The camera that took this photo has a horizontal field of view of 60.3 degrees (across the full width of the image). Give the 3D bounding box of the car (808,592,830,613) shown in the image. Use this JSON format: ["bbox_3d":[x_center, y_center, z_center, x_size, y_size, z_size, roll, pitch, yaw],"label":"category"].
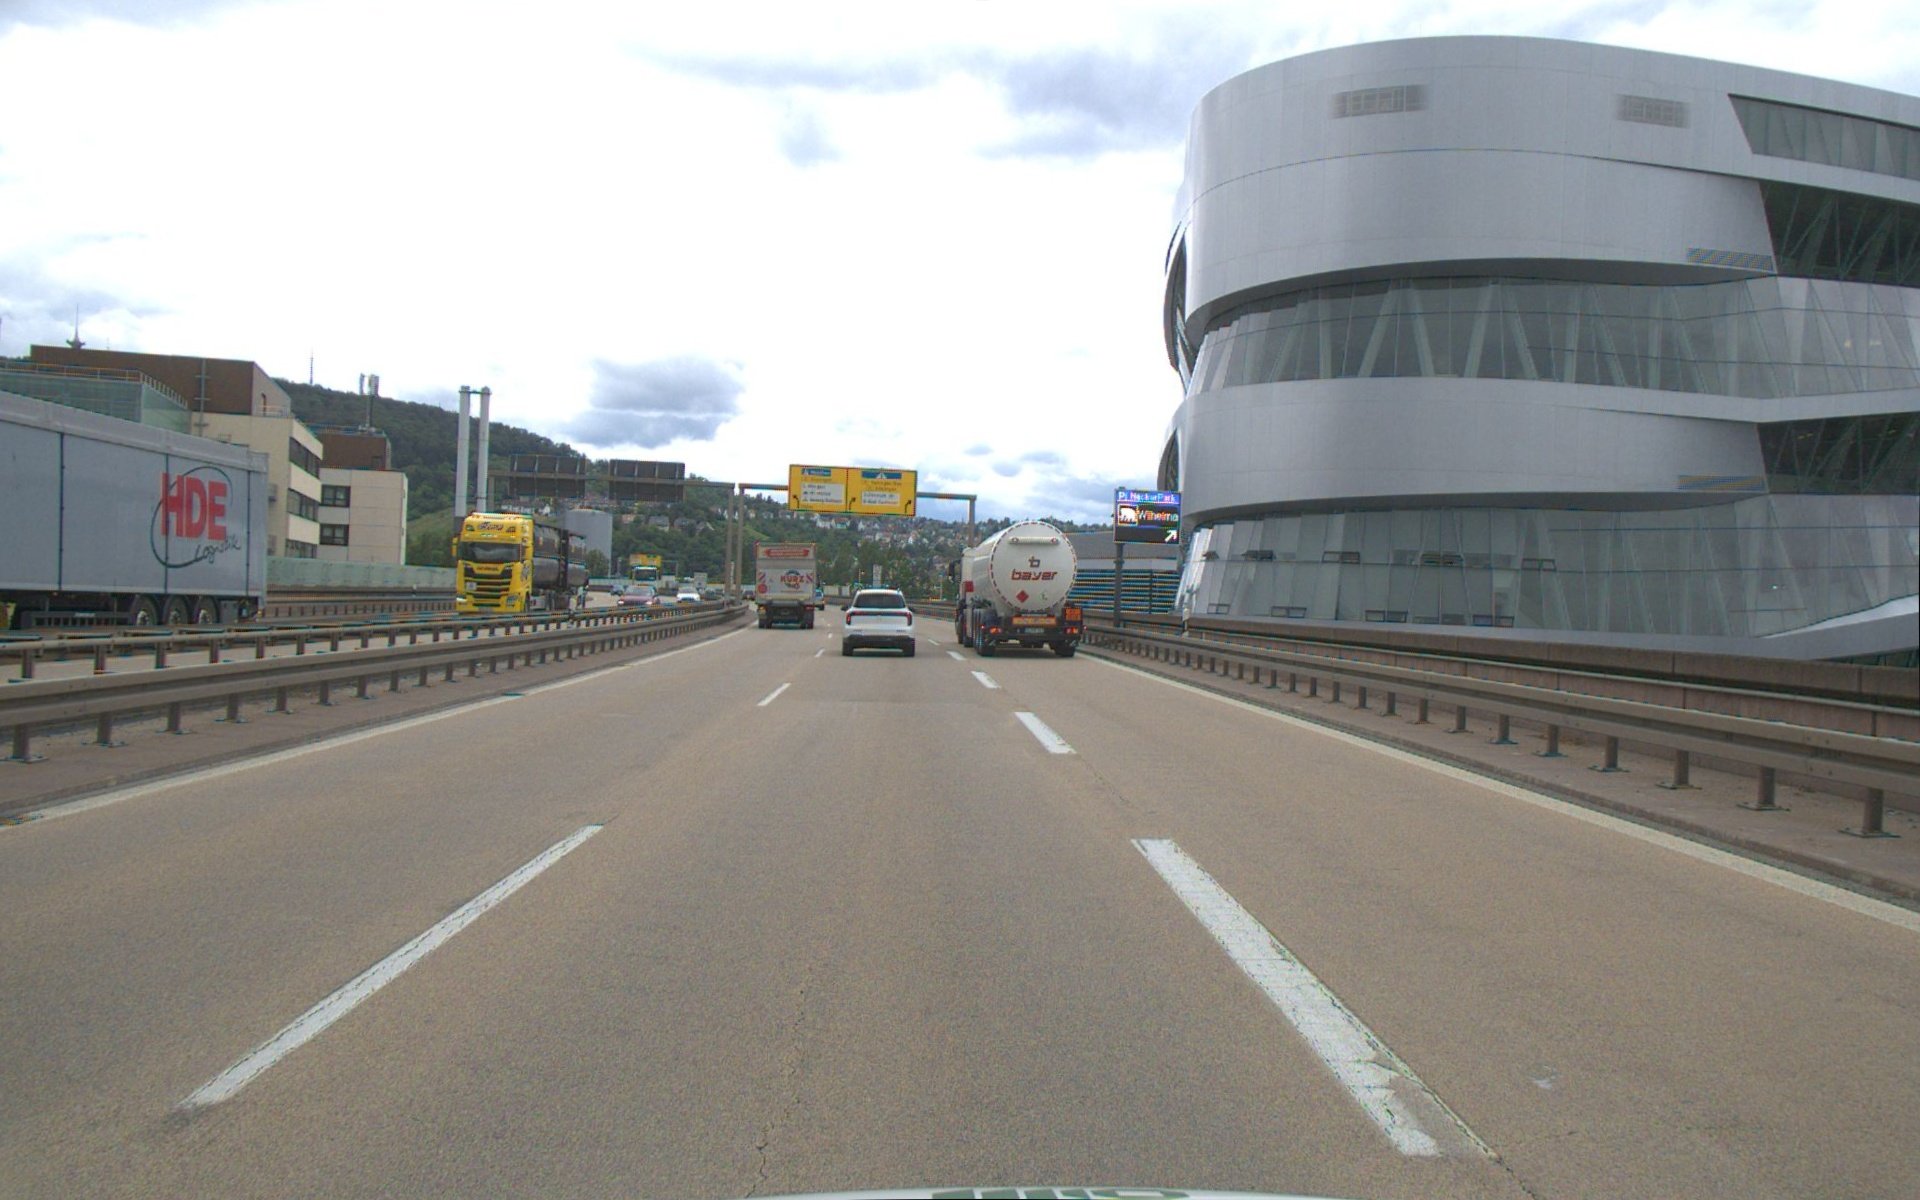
[{"bbox_3d":[-12.104,0.238,141.672,1.649,1.679,4.357,2,-1,-3],"label":"car"}]

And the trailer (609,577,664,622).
[{"bbox_3d":[-15.265,0.005,78.142,1.954,2.049,3.997,1,-1,-3],"label":"trailer"}]

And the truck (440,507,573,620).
[{"bbox_3d":[-18.276,-1.287,67.550,2.997,4.136,11.845,1,-1,-4],"label":"truck"}]

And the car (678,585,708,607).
[{"bbox_3d":[-20.877,-0.317,129.418,1.955,1.634,4.801,1,-1,-6],"label":"car"}]

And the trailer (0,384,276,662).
[{"bbox_3d":[-15.630,-1.169,28.981,2.788,4.057,11.879,1,0,-3],"label":"trailer"}]

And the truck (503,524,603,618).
[{"bbox_3d":[-19.078,-1.237,78.081,2.996,4.136,8.656,1,-1,-4],"label":"truck"}]

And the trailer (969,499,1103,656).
[{"bbox_3d":[1.901,-0.494,45.195,2.995,3.856,8.300,1,-1,-2],"label":"trailer"}]

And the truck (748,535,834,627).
[{"bbox_3d":[-7.326,-0.727,72.931,2.995,3.755,8.301,1,-1,-1],"label":"truck"}]

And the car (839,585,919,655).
[{"bbox_3d":[-2.101,0.519,42.997,1.954,1.704,4.405,1,-1,-3],"label":"car"}]

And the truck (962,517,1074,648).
[{"bbox_3d":[1.670,-0.451,50.896,2.954,3.721,6.270,1,-1,-2],"label":"truck"}]

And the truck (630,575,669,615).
[{"bbox_3d":[-31.189,-0.406,166.608,2.999,3.842,12.498,1,-1,-7],"label":"truck"}]
